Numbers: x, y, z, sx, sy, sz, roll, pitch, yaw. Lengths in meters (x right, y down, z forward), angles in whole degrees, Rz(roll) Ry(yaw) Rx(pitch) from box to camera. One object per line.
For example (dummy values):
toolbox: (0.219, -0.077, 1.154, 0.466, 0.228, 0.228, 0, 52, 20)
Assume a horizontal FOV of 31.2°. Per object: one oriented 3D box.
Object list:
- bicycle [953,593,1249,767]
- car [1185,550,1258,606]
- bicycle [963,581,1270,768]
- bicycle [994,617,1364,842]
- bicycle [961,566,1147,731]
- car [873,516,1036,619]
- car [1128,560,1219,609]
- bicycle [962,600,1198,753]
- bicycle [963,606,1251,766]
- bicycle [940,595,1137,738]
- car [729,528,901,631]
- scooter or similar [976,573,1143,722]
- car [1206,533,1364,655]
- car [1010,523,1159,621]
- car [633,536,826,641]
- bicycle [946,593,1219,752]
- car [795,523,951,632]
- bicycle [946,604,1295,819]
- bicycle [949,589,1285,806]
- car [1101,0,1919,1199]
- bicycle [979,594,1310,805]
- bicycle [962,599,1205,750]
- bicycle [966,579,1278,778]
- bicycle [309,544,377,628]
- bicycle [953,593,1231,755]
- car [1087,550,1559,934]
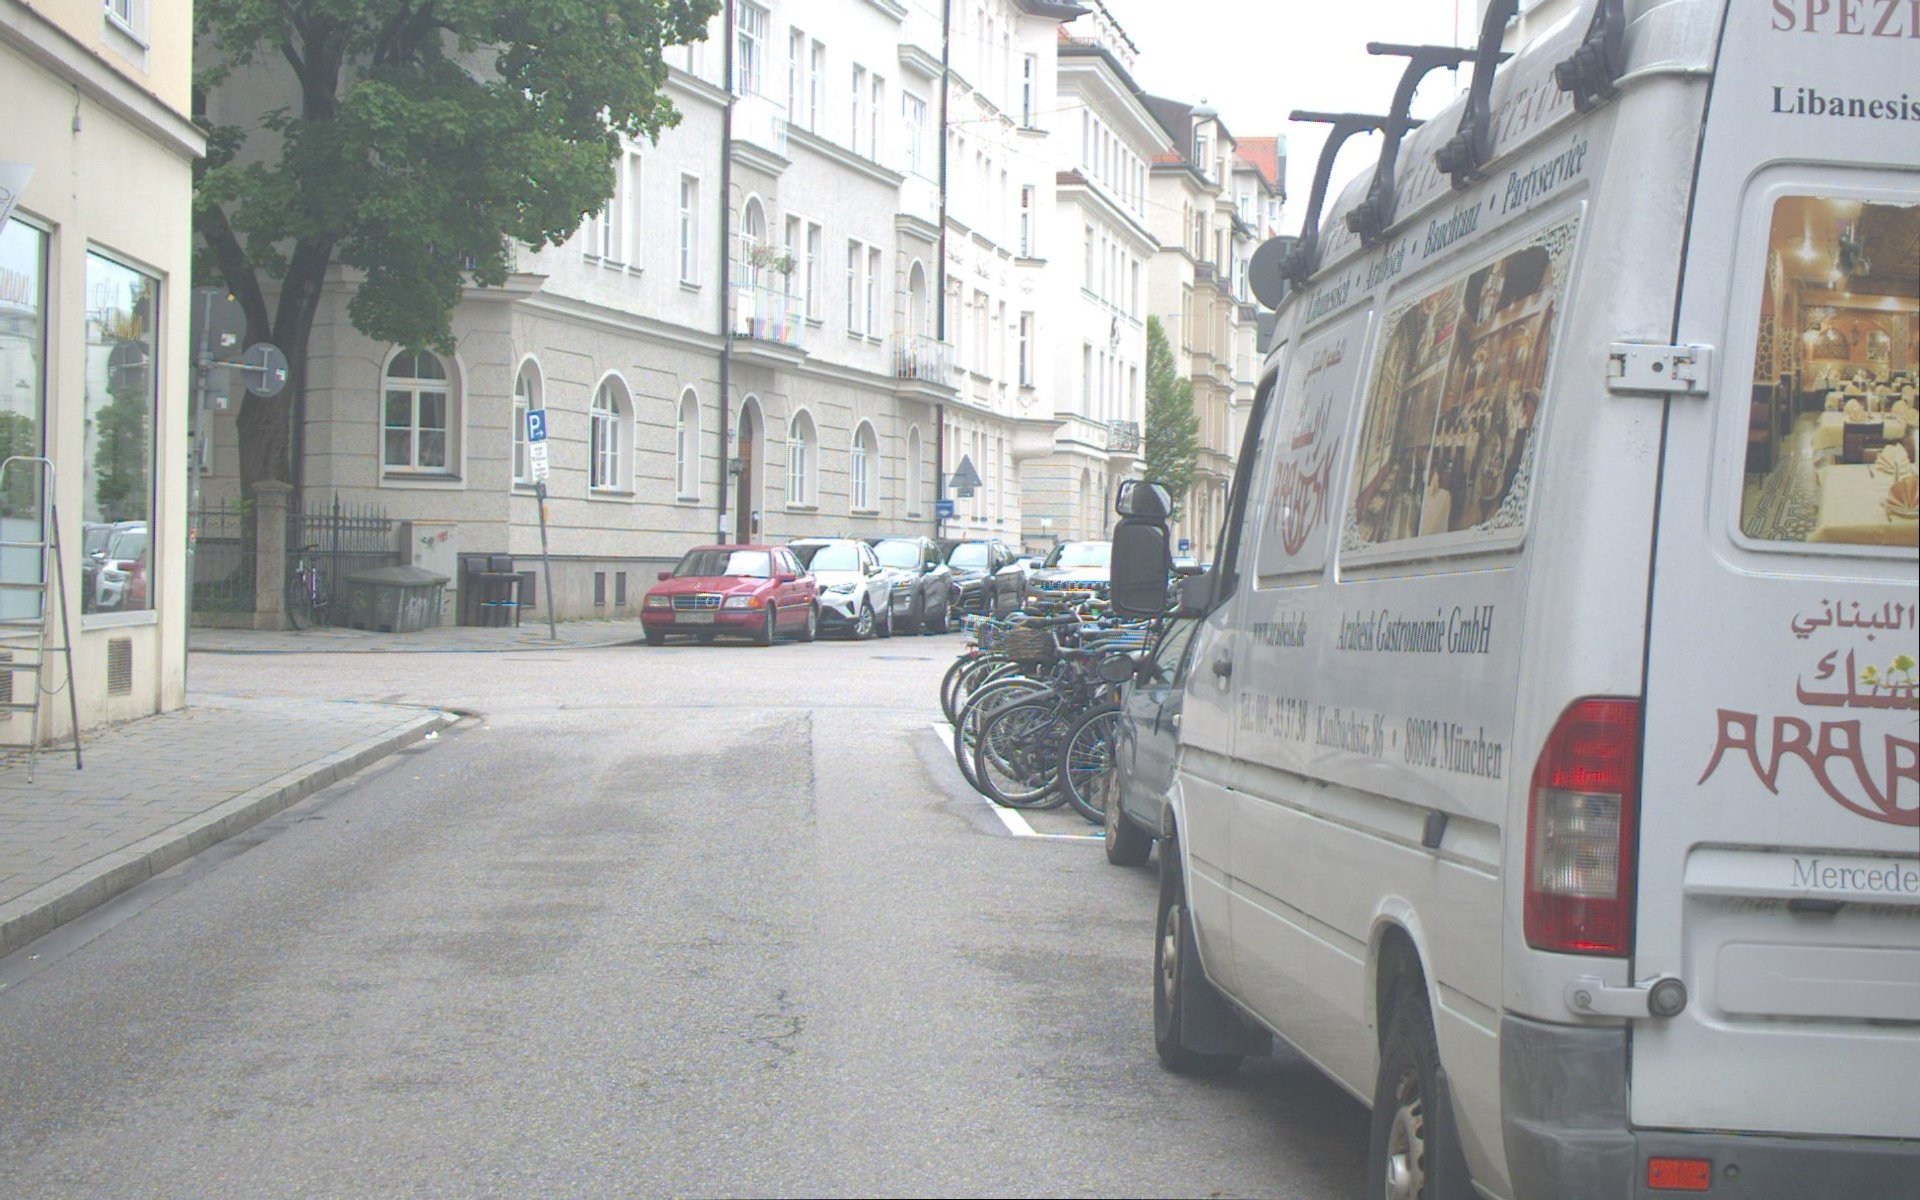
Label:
bicycle: (0.918, 0.520, 22.504, 1.873, 1.091, 0.440, 1, 2, -5)
car: (7.754, -0.664, 101.680, 1.821, 1.568, 3.999, 1, 1, 9)
bicycle: (0.988, 0.470, 21.962, 1.893, 1.166, 0.566, 0, 1, -5)
bicycle: (1.162, 0.689, 18.401, 1.873, 1.076, 0.488, 3, 2, -4)
bicycle: (0.754, 0.385, 27.824, 1.456, 1.281, 0.445, 1, 1, -1)
car: (-0.048, -0.598, 62.252, 1.995, 1.732, 4.519, 2, 1, 12)
car: (5.620, -0.428, 90.306, 1.907, 1.218, 3.998, 1, 1, 10)
bicycle: (0.874, 0.559, 25.170, 1.674, 1.076, 0.336, 1, 2, -5)
bicycle: (0.984, 0.579, 23.211, 1.873, 1.048, 0.564, 1, -1, -5)
bicycle: (0.609, 0.514, 26.811, 1.450, 1.066, 0.463, 1, 1, -10)
car: (-2.163, -0.328, 52.466, 1.994, 1.468, 4.218, 1, 1, 6)
scooter or similar: (0.821, 0.391, 28.624, 1.352, 1.206, 0.417, 1, 1, 0)
car: (4.862, -0.110, 50.988, 1.821, 1.630, 4.287, 3, 1, 11)
car: (2.173, -0.503, 58.917, 1.958, 1.602, 4.307, 1, 1, 10)
car: (-3.159, -0.181, 47.895, 1.731, 1.373, 4.225, 1, 1, 10)
bicycle: (0.861, 0.512, 24.343, 1.873, 1.076, 0.408, 1, 2, -5)
car: (-1.415, -0.393, 57.455, 1.943, 1.696, 3.999, 2, 1, 8)
bicycle: (0.894, 0.625, 19.397, 1.873, 1.104, 0.488, 2, 2, -4)
bicycle: (0.900, 0.562, 19.916, 1.873, 1.200, 0.488, 1, 2, -4)
car: (1.629, 0.157, 8.121, 1.920, 2.497, 5.998, 2, 1, -3)
bicycle: (1.094, 0.591, 20.607, 1.873, 1.153, 0.565, 2, 2, -4)
bicycle: (0.912, 0.554, 25.586, 1.740, 1.076, 0.452, 1, 2, -5)
bicycle: (0.996, 0.477, 21.334, 1.873, 1.200, 0.580, 0, 1, -4)
bicycle: (-8.318, -0.199, 46.380, 0.493, 1.049, 1.827, 1, 3, 3)
bicycle: (0.916, 0.510, 23.906, 1.873, 1.076, 0.402, 1, 2, -5)
car: (1.484, 0.530, 15.193, 1.580, 1.459, 3.552, 1, 1, -2)
